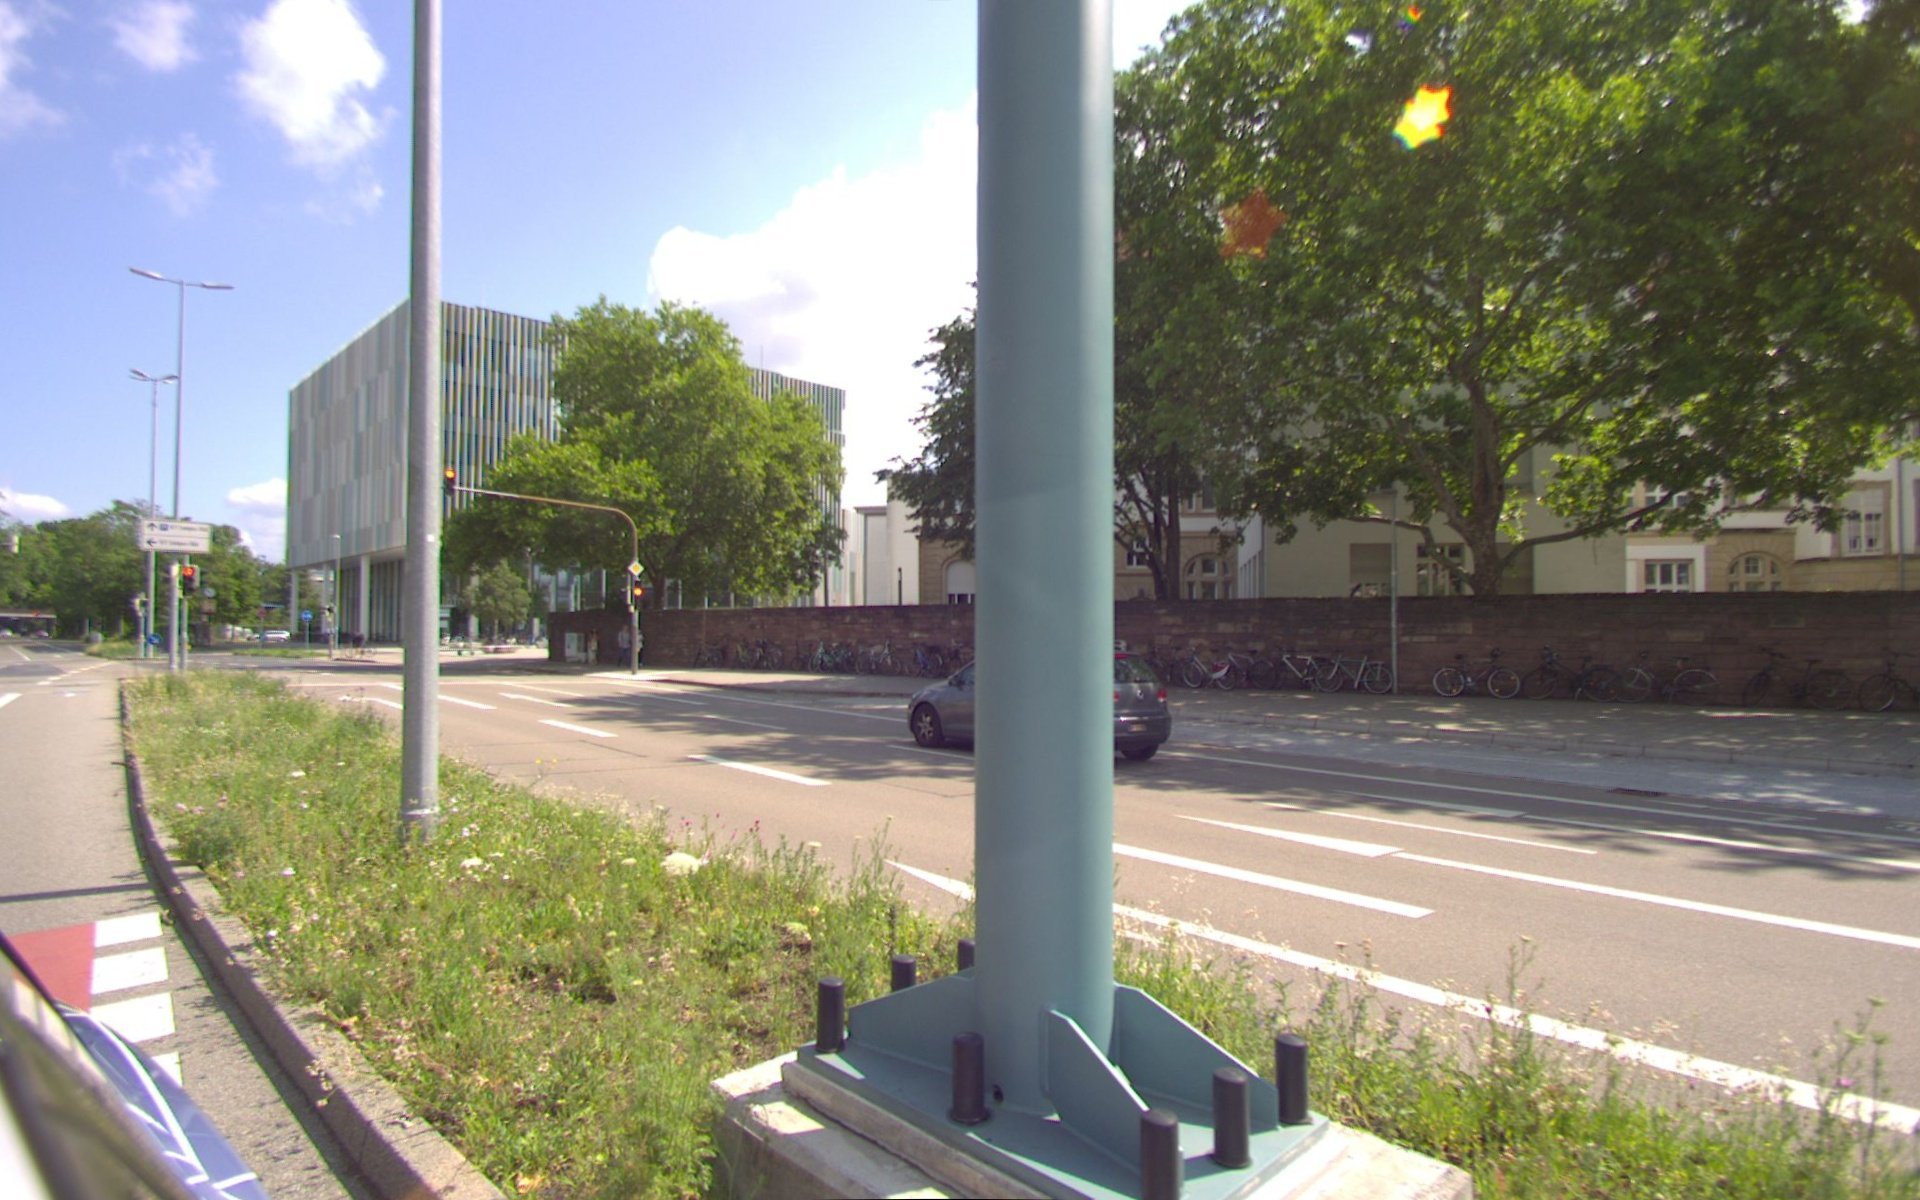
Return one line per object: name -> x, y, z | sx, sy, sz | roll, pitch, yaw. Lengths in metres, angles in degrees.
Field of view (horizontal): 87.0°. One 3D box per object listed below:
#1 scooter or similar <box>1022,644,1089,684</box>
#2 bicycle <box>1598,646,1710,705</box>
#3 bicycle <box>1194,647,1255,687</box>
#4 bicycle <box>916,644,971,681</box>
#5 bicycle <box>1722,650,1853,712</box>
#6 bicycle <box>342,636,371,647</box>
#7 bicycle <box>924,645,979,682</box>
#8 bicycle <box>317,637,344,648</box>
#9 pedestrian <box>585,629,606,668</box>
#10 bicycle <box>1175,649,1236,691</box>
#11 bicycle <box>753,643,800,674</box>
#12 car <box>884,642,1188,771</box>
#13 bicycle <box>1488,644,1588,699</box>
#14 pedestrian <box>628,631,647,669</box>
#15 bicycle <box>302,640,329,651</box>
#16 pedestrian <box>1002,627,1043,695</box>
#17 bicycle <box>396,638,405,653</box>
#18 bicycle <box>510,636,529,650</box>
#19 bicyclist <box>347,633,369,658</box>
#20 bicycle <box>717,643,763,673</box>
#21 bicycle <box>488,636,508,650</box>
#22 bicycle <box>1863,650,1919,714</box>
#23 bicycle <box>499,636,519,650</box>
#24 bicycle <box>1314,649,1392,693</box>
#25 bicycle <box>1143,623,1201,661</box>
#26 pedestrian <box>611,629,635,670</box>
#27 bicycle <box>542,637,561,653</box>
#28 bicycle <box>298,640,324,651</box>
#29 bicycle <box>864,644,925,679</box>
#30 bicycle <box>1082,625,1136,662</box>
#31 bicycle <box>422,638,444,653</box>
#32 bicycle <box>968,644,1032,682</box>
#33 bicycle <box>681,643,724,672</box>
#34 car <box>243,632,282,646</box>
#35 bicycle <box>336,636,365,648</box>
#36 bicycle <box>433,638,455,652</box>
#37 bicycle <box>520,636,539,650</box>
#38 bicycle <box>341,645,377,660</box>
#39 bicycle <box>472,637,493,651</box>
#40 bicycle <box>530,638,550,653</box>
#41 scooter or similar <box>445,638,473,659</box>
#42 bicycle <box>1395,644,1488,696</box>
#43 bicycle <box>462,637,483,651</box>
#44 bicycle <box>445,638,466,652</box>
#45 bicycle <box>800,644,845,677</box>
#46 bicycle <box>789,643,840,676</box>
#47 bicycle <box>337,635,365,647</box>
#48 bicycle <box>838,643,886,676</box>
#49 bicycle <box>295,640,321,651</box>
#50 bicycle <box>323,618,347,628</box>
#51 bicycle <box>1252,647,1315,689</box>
scooter or similar -> 2.630, 1.755, 28.033 | 1.880, 1.056, 0.574 | -2, -3, 40
bicycle -> 13.498, 1.453, 19.744 | 1.750, 1.081, 0.577 | -1, -2, 33
bicycle -> 6.532, 1.651, 25.019 | 1.398, 0.962, 0.363 | -1, -2, 34
bicycle -> -0.516, 1.851, 30.238 | 1.880, 1.056, 0.369 | -2, -3, 40
bicycle -> 15.169, 1.463, 18.613 | 1.747, 1.081, 0.578 | -1, -2, 28
bicycle -> -56.920, 3.916, 95.500 | 0.722, 1.105, 2.187 | -2, -3, 41
bicycle -> -0.275, 1.899, 30.551 | 1.880, 1.056, 0.390 | -2, -3, 40
bicycle -> -62.364, 4.203, 100.247 | 0.722, 1.105, 2.187 | -2, -3, 41
pedestrian -> -15.721, 2.088, 43.627 | 0.727, 1.664, 0.554 | -2, -3, 44
bicycle -> 5.915, 1.678, 24.459 | 0.361, 0.962, 1.629 | 1, -2, -32
bicycle -> -6.496, 2.057, 35.762 | 1.880, 1.056, 0.558 | -2, -3, 40
car -> 0.892, 1.329, 13.794 | 1.679, 1.456, 4.152 | 3, -4, -41
bicycle -> 11.905, 1.463, 20.870 | 1.751, 1.081, 0.577 | -1, -2, 34
pedestrian -> -13.296, 2.040, 41.713 | 0.616, 1.551, 0.470 | -2, -3, 44
bicycle -> -66.411, 4.663, 104.310 | 0.722, 1.105, 2.187 | -2, -3, 41
pedestrian -> 1.534, 1.487, 24.959 | 0.744, 1.622, 0.649 | -2, -2, 42
bicycle -> -44.301, 3.592, 80.070 | 0.539, 1.105, 1.638 | 1, -3, -32
bicycle -> -34.567, 3.387, 79.468 | 0.712, 1.105, 2.220 | 0, -2, -4
bicyclist -> -36.078, 2.718, 60.620 | 0.931, 1.475, 0.633 | 0, -2, -9
bicycle -> -8.089, 2.128, 37.195 | 1.880, 1.056, 0.623 | -2, -3, 40
bicycle -> -36.360, 3.400, 79.603 | 0.712, 1.105, 2.220 | 0, -2, -4
bicycle -> 16.861, 1.419, 17.482 | 1.747, 1.081, 0.578 | -1, -2, 28
bicycle -> -35.432, 3.377, 79.501 | 0.712, 1.105, 2.220 | 0, -2, -4
bicycle -> 8.970, 1.609, 23.117 | 1.623, 0.962, 0.367 | -1, -2, 34
bicycle -> 5.425, 1.080, 25.939 | 1.398, 0.962, 0.363 | -1, -2, 34
pedestrian -> -13.681, 2.006, 41.043 | 0.731, 1.664, 0.634 | -2, -3, 44
bicycle -> -31.900, 3.515, 79.069 | 0.736, 1.199, 2.320 | 0, -2, -4
bicycle -> -68.017, 4.756, 106.088 | 0.722, 1.105, 2.187 | -2, -3, 41
bicycle -> -2.053, 1.926, 31.683 | 1.870, 1.056, 0.589 | -1, -2, 25
bicycle -> 3.966, 1.166, 26.993 | 1.398, 0.962, 0.363 | -1, -2, 34
bicycle -> -41.673, 3.582, 80.028 | 0.712, 1.105, 2.220 | 0, -2, -4
bicycle -> 1.146, 1.811, 29.280 | 1.880, 1.056, 0.574 | -2, -3, 40
bicycle -> -9.845, 2.197, 38.698 | 1.880, 1.056, 0.623 | -2, -3, 40
car -> -89.460, 4.996, 129.803 | 3.938, 1.699, 1.648 | 2, -3, -42
bicycle -> -58.291, 3.980, 96.803 | 0.722, 1.105, 2.187 | -2, -3, 41
bicycle -> -40.854, 3.552, 80.118 | 0.712, 1.105, 2.220 | 0, -2, -4
bicycle -> -33.799, 3.387, 79.492 | 0.712, 1.105, 2.220 | 0, -2, -4
bicycle -> -35.992, 3.123, 60.621 | 1.747, 0.899, 0.639 | 0, -2, -9
bicycle -> -37.784, 3.452, 80.109 | 0.712, 1.105, 2.220 | 0, -2, -4
bicycle -> -32.940, 3.538, 79.447 | 0.736, 1.146, 2.320 | 0, -2, -4
scooter or similar -> -28.567, 2.737, 57.706 | 0.500, 1.166, 1.491 | -1, -2, 21
bicycle -> 10.423, 1.504, 21.935 | 1.751, 1.081, 0.577 | -1, -2, 34
bicycle -> -38.540, 3.449, 80.061 | 0.712, 1.105, 2.220 | 0, -2, -4
bicycle -> -40.095, 3.562, 80.402 | 0.712, 1.105, 2.220 | 0, -2, -4
bicycle -> -4.681, 2.036, 34.336 | 1.880, 1.056, 0.366 | -2, -3, 40
bicycle -> -4.859, 1.969, 33.677 | 1.880, 1.056, 0.586 | -2, -3, 40
bicycle -> -57.735, 3.917, 95.966 | 0.755, 1.105, 2.187 | -2, -3, 41
bicycle -> -3.213, 1.935, 33.020 | 1.880, 1.056, 0.366 | -2, -3, 40
bicycle -> -68.706, 4.781, 106.708 | 0.722, 1.098, 2.187 | -2, -3, 41
bicycle -> -69.763, 2.599, 112.995 | 0.722, 1.105, 2.187 | -2, -3, 41
bicycle -> 7.702, 1.607, 24.121 | 1.398, 0.962, 0.363 | -1, -2, 34
